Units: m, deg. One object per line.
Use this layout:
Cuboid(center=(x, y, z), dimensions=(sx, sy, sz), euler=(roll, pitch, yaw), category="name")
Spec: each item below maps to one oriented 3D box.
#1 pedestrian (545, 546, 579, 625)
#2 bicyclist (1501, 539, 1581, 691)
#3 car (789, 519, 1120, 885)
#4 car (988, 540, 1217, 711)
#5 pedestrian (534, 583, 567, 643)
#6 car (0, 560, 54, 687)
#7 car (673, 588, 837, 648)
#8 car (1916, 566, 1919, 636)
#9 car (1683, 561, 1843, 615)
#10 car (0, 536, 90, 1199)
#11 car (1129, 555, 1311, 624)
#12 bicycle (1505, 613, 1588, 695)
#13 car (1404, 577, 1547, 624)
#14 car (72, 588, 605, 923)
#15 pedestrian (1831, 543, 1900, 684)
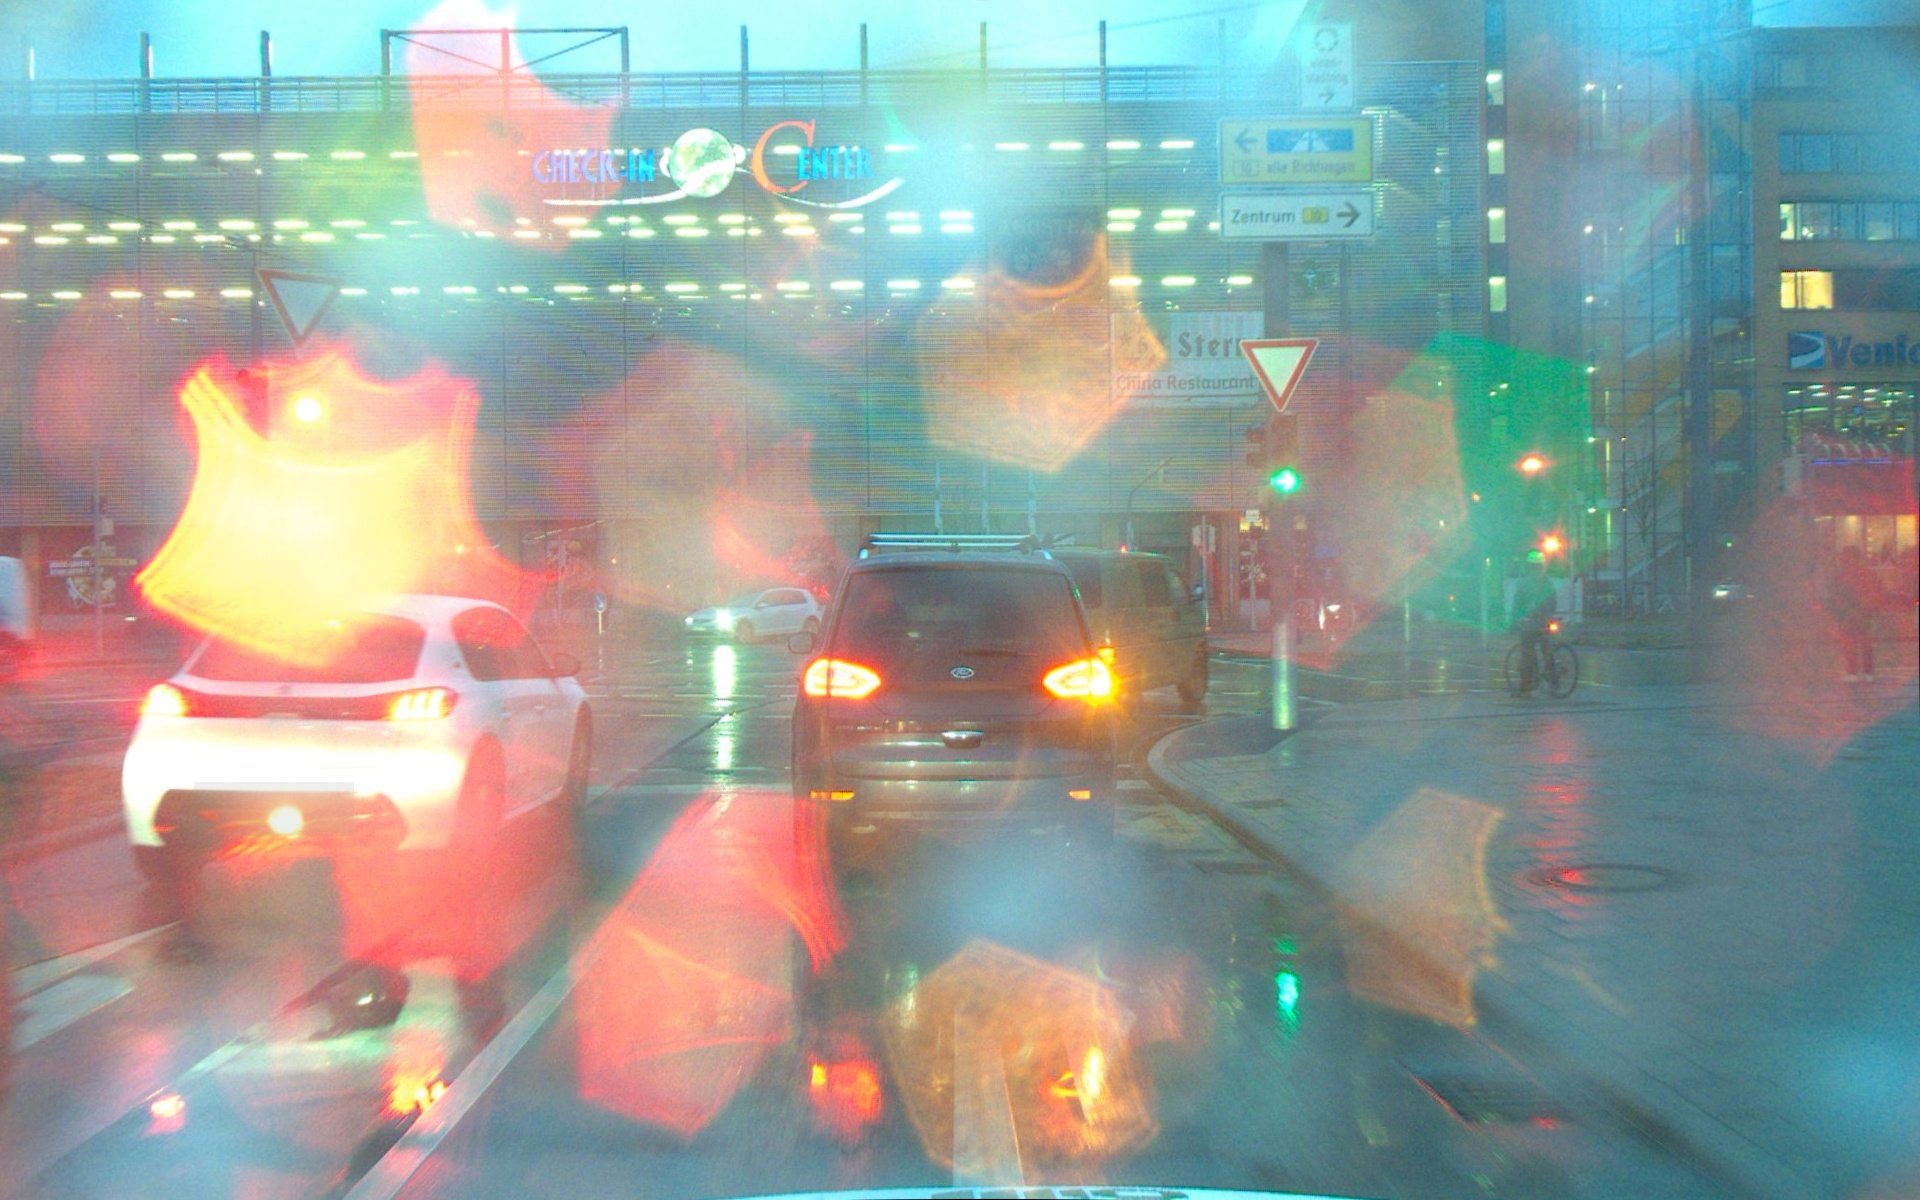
Cuboid(center=(-15.124, -0.529, 62.911), dimensions=(0.943, 2.976, 1.114), euler=(1, -1, 2), category="pedestrian")
Cuboid(center=(7.533, 0.191, 21.484), dimensions=(0.774, 1.923, 0.990), euler=(-1, 0, 8), category="bicyclist")
Cuboid(center=(0.035, 0.507, 10.339), dimensions=(1.639, 1.811, 4.001), euler=(1, 0, 2), category="car")
Cuboid(center=(1.866, 0.258, 20.200), dimensions=(1.805, 1.837, 4.489), euler=(-1, 0, 18), category="car")
Cuboid(center=(-16.976, 0.538, 68.585), dimensions=(1.087, 2.482, 0.966), euler=(1, -1, 2), category="pedestrian")
Cuboid(center=(-15.698, 0.378, 23.604), dimensions=(1.859, 1.904, 4.966), euler=(-1, 0, 17), category="car")
Cuboid(center=(-5.485, 0.470, 44.694), dimensions=(1.831, 1.512, 4.319), euler=(-1, 0, 40), category="car")
Cuboid(center=(20.963, -0.008, 32.500), dimensions=(3.657, 1.385, 1.639), euler=(-1, 0, -13), category="car")
Cuboid(center=(27.292, -0.409, 56.324), dimensions=(4.498, 1.749, 1.930), euler=(-1, 0, 3), category="car")
Cuboid(center=(-3.029, 0.667, 1.995), dimensions=(1.784, 1.597, 4.359), euler=(-1, 0, -3), category="car")
Cuboid(center=(8.346, -0.310, 53.089), dimensions=(5.524, 2.095, 1.954), euler=(-1, 0, 18), category="car")
Cuboid(center=(7.614, 0.679, 21.539), dimensions=(0.641, 0.990, 1.868), euler=(-1, 0, 8), category="bicycle")
Cuboid(center=(17.309, 0.004, 55.591), dimensions=(4.327, 1.470, 1.626), euler=(-1, 0, -9), category="car")
Cuboid(center=(-3.206, 0.688, 9.389), dimensions=(1.723, 1.489, 3.915), euler=(0, 0, -3), category="car")
Cuboid(center=(12.508, 0.182, 22.858), dimensions=(0.758, 1.910, 0.635), euler=(-1, 0, 25), category="pedestrian")
